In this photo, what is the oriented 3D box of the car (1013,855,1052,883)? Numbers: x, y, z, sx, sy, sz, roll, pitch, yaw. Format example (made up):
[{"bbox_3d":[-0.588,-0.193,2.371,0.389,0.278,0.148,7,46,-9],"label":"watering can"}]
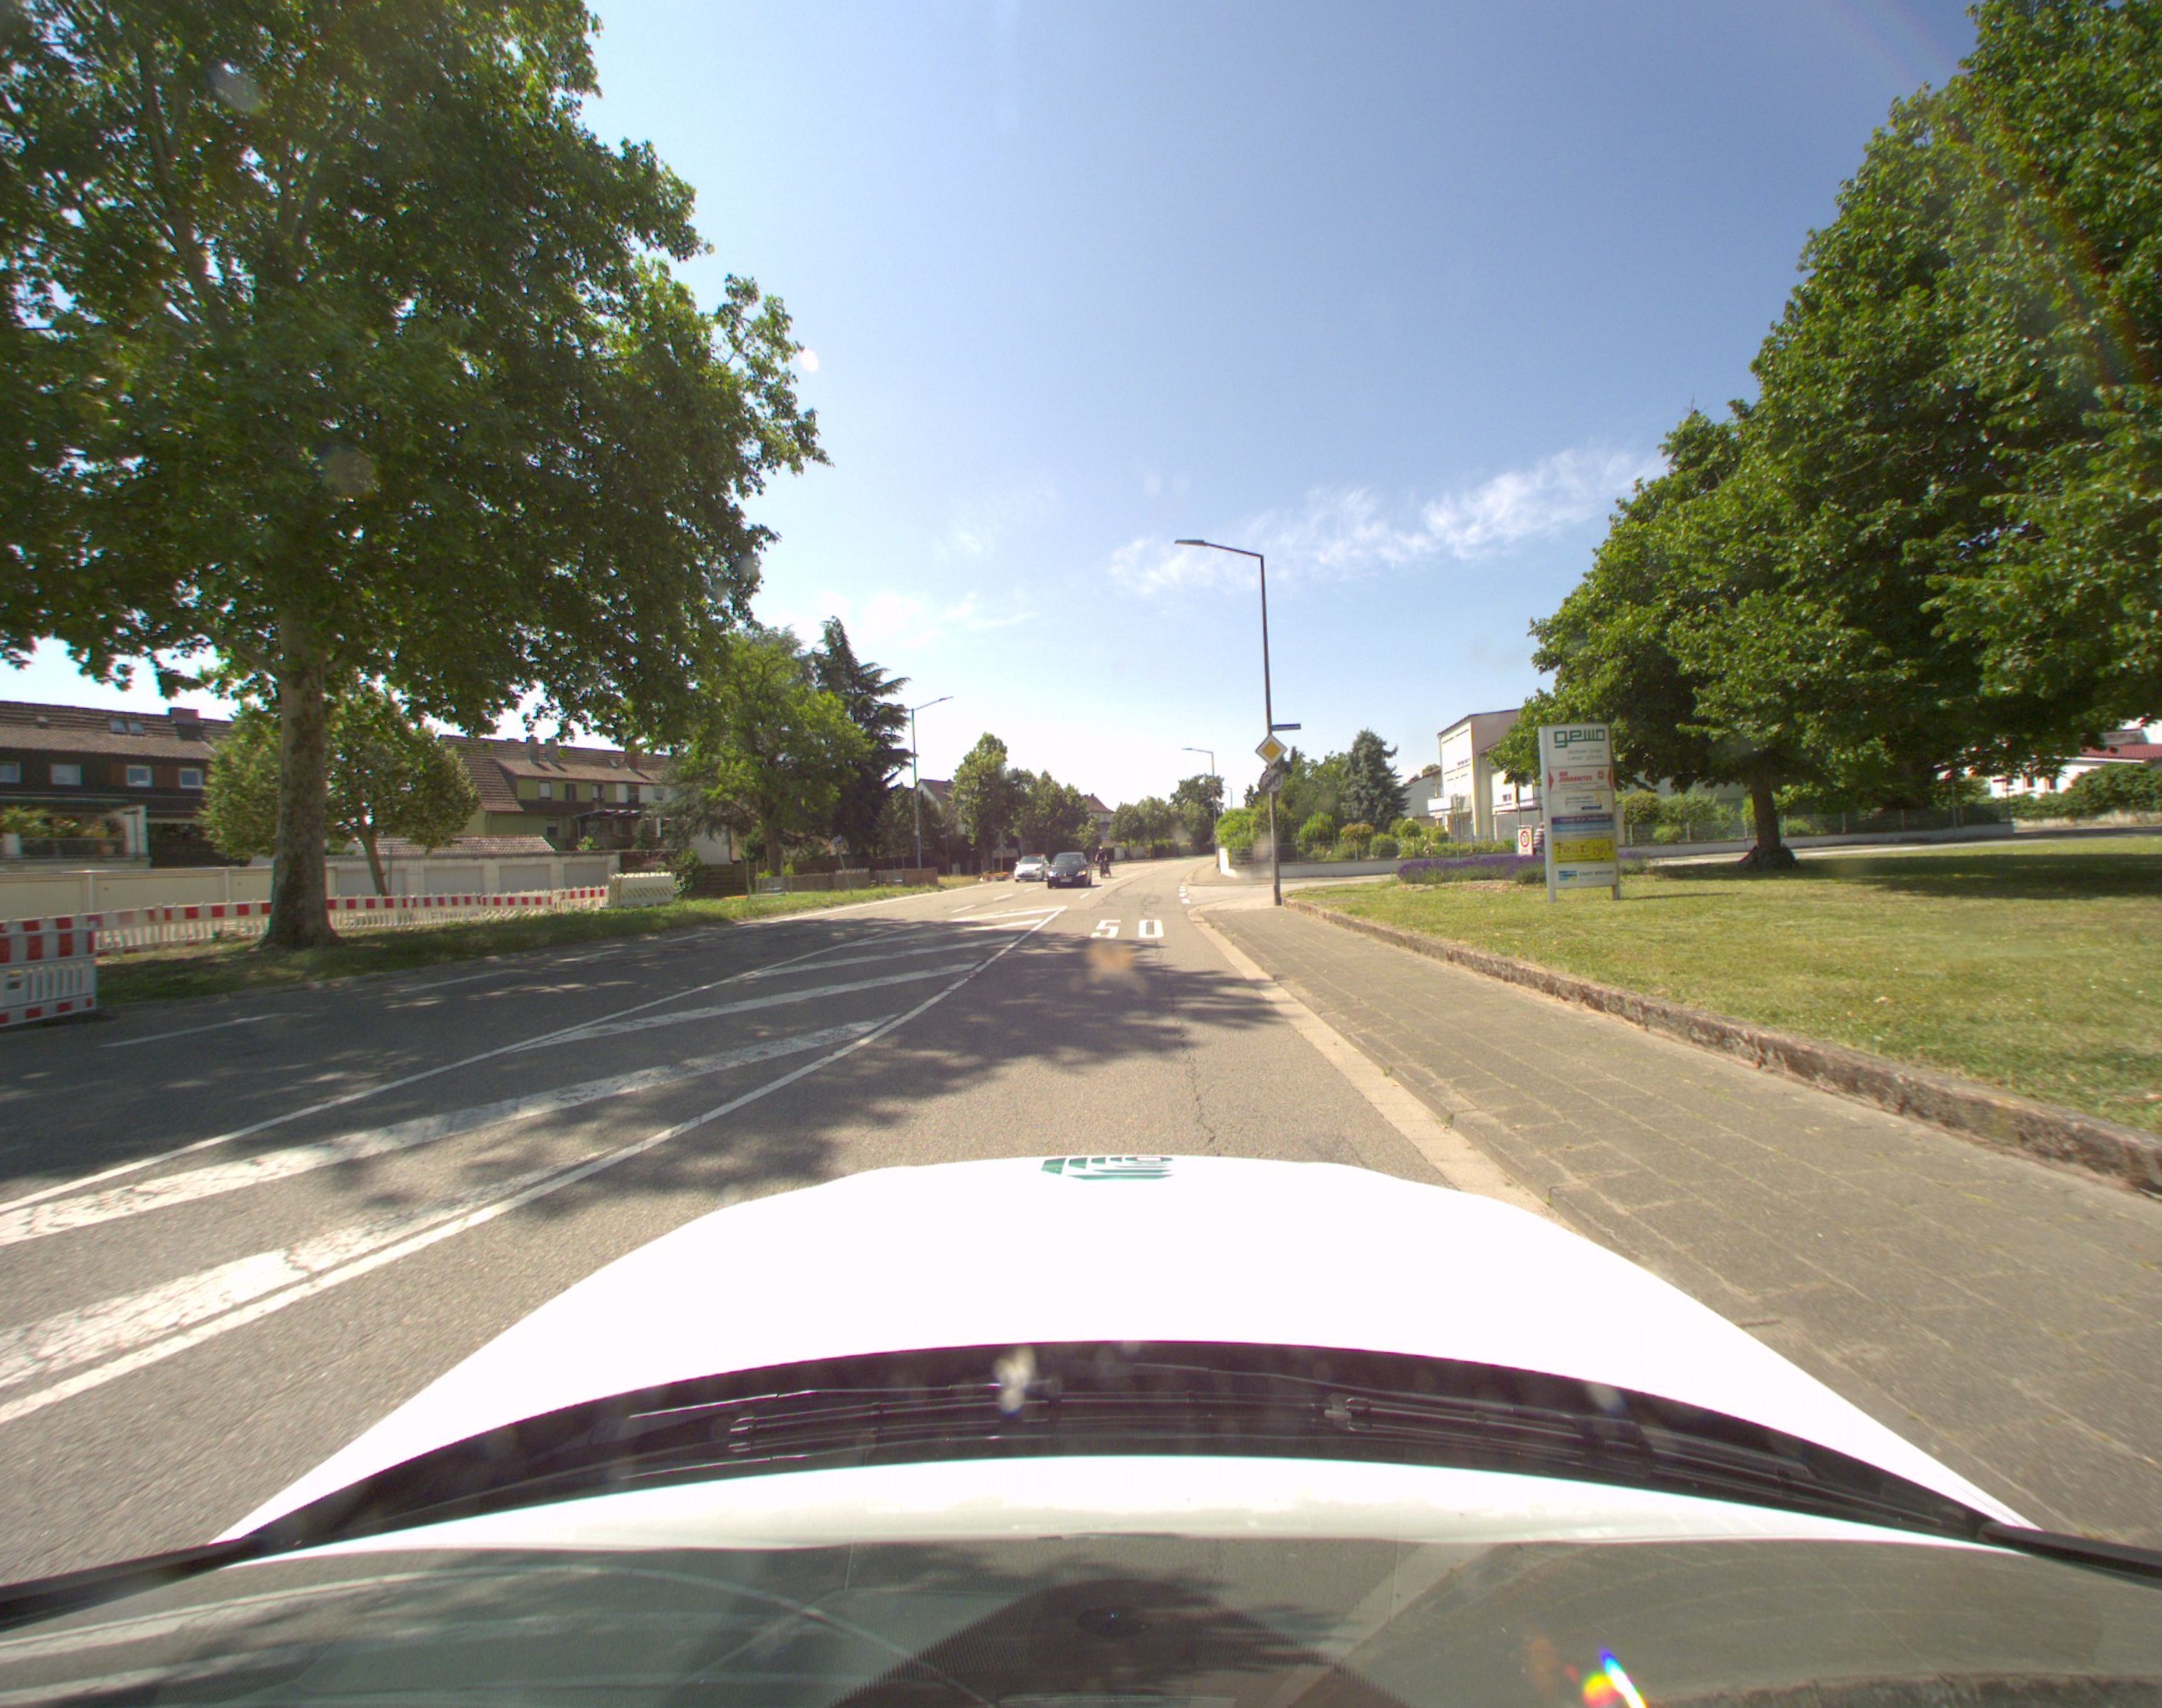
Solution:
[{"bbox_3d":[-2.739,0.829,46.724,1.690,1.510,3.465,-1,0,6],"label":"car"}]

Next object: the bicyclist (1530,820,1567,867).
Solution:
[{"bbox_3d":[15.841,-0.366,27.565,0.916,1.530,0.862,-3,0,37],"label":"bicyclist"}]

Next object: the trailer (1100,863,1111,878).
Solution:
[{"bbox_3d":[1.507,1.006,49.818,0.567,0.856,1.135,-3,0,7],"label":"trailer"}]

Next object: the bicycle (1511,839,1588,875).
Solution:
[{"bbox_3d":[15.849,0.102,27.571,2.118,1.103,0.821,-3,0,36],"label":"bicycle"}]

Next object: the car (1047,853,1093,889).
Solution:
[{"bbox_3d":[-0.462,0.752,37.222,1.717,1.532,3.835,-1,0,4],"label":"car"}]

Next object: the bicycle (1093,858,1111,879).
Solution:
[{"bbox_3d":[1.239,0.866,48.273,0.846,1.166,1.981,-2,0,7],"label":"bicycle"}]

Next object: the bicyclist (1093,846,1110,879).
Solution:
[{"bbox_3d":[1.215,0.500,48.234,0.841,1.865,0.978,-2,0,7],"label":"bicyclist"}]
